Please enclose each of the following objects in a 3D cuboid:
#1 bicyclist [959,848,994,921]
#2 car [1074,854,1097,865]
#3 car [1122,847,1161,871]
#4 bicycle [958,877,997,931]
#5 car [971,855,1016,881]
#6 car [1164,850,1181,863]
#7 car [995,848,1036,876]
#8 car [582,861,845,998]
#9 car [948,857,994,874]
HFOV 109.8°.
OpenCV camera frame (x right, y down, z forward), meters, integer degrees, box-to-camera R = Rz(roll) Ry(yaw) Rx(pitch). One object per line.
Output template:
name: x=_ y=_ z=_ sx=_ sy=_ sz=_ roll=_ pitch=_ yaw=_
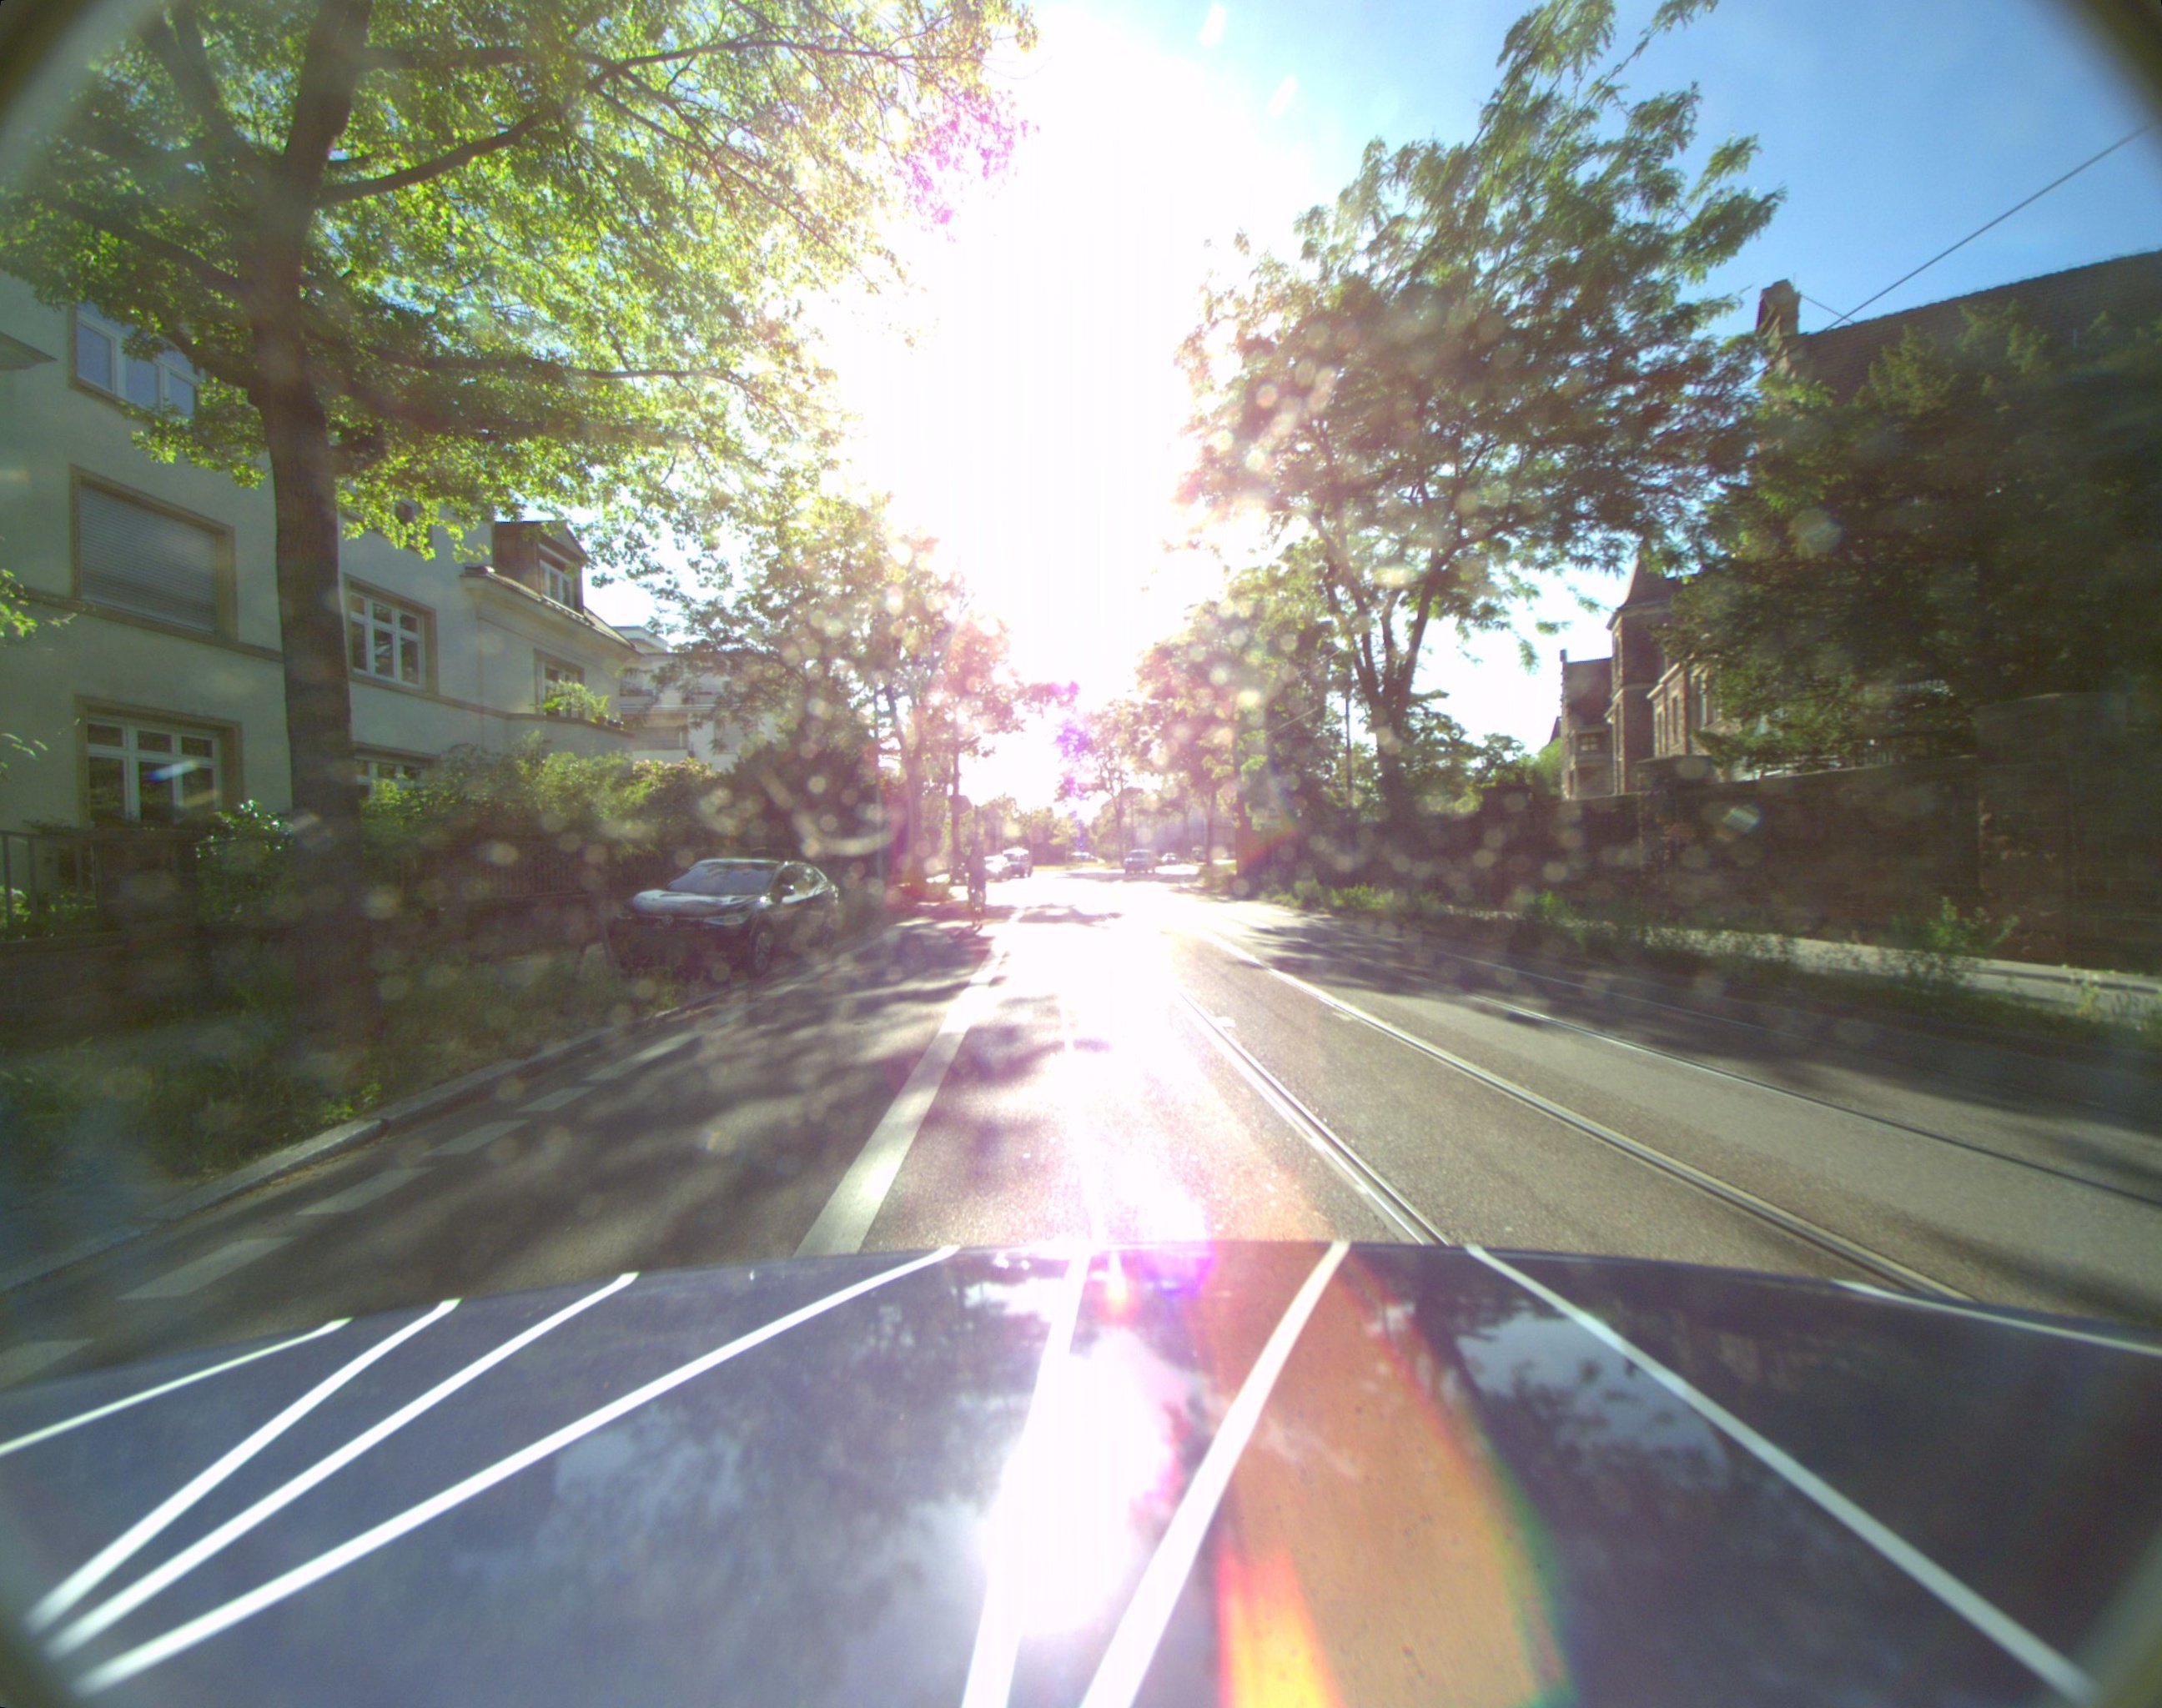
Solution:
bicyclist: x=-2.404 y=0.684 z=17.601 sx=0.644 sy=1.632 sz=0.665 roll=-2 pitch=1 yaw=1
car: x=0.742 y=0.919 z=128.783 sx=3.908 sy=1.683 sz=1.905 roll=-2 pitch=0 yaw=-1
car: x=4.839 y=0.347 z=59.774 sx=1.875 sy=1.805 sz=4.973 roll=-1 pitch=0 yaw=18
bicycle: x=-2.374 y=1.125 z=17.600 sx=0.588 sy=1.105 sz=1.855 roll=-2 pitch=0 yaw=1
car: x=-5.168 y=0.795 z=45.327 sx=1.901 sy=1.402 sz=4.260 roll=-1 pitch=0 yaw=4
car: x=11.907 y=0.316 z=98.715 sx=1.997 sy=1.539 sz=4.002 roll=-2 pitch=0 yaw=8
car: x=-4.406 y=0.506 z=51.682 sx=1.900 sy=1.775 sz=4.670 roll=-1 pitch=0 yaw=6
car: x=-5.199 y=0.948 z=11.500 sx=1.919 sy=1.590 sz=4.258 roll=2 pitch=0 yaw=-1
car: x=-10.047 y=1.048 z=69.531 sx=3.998 sy=1.433 sz=1.813 roll=-2 pitch=0 yaw=-3
